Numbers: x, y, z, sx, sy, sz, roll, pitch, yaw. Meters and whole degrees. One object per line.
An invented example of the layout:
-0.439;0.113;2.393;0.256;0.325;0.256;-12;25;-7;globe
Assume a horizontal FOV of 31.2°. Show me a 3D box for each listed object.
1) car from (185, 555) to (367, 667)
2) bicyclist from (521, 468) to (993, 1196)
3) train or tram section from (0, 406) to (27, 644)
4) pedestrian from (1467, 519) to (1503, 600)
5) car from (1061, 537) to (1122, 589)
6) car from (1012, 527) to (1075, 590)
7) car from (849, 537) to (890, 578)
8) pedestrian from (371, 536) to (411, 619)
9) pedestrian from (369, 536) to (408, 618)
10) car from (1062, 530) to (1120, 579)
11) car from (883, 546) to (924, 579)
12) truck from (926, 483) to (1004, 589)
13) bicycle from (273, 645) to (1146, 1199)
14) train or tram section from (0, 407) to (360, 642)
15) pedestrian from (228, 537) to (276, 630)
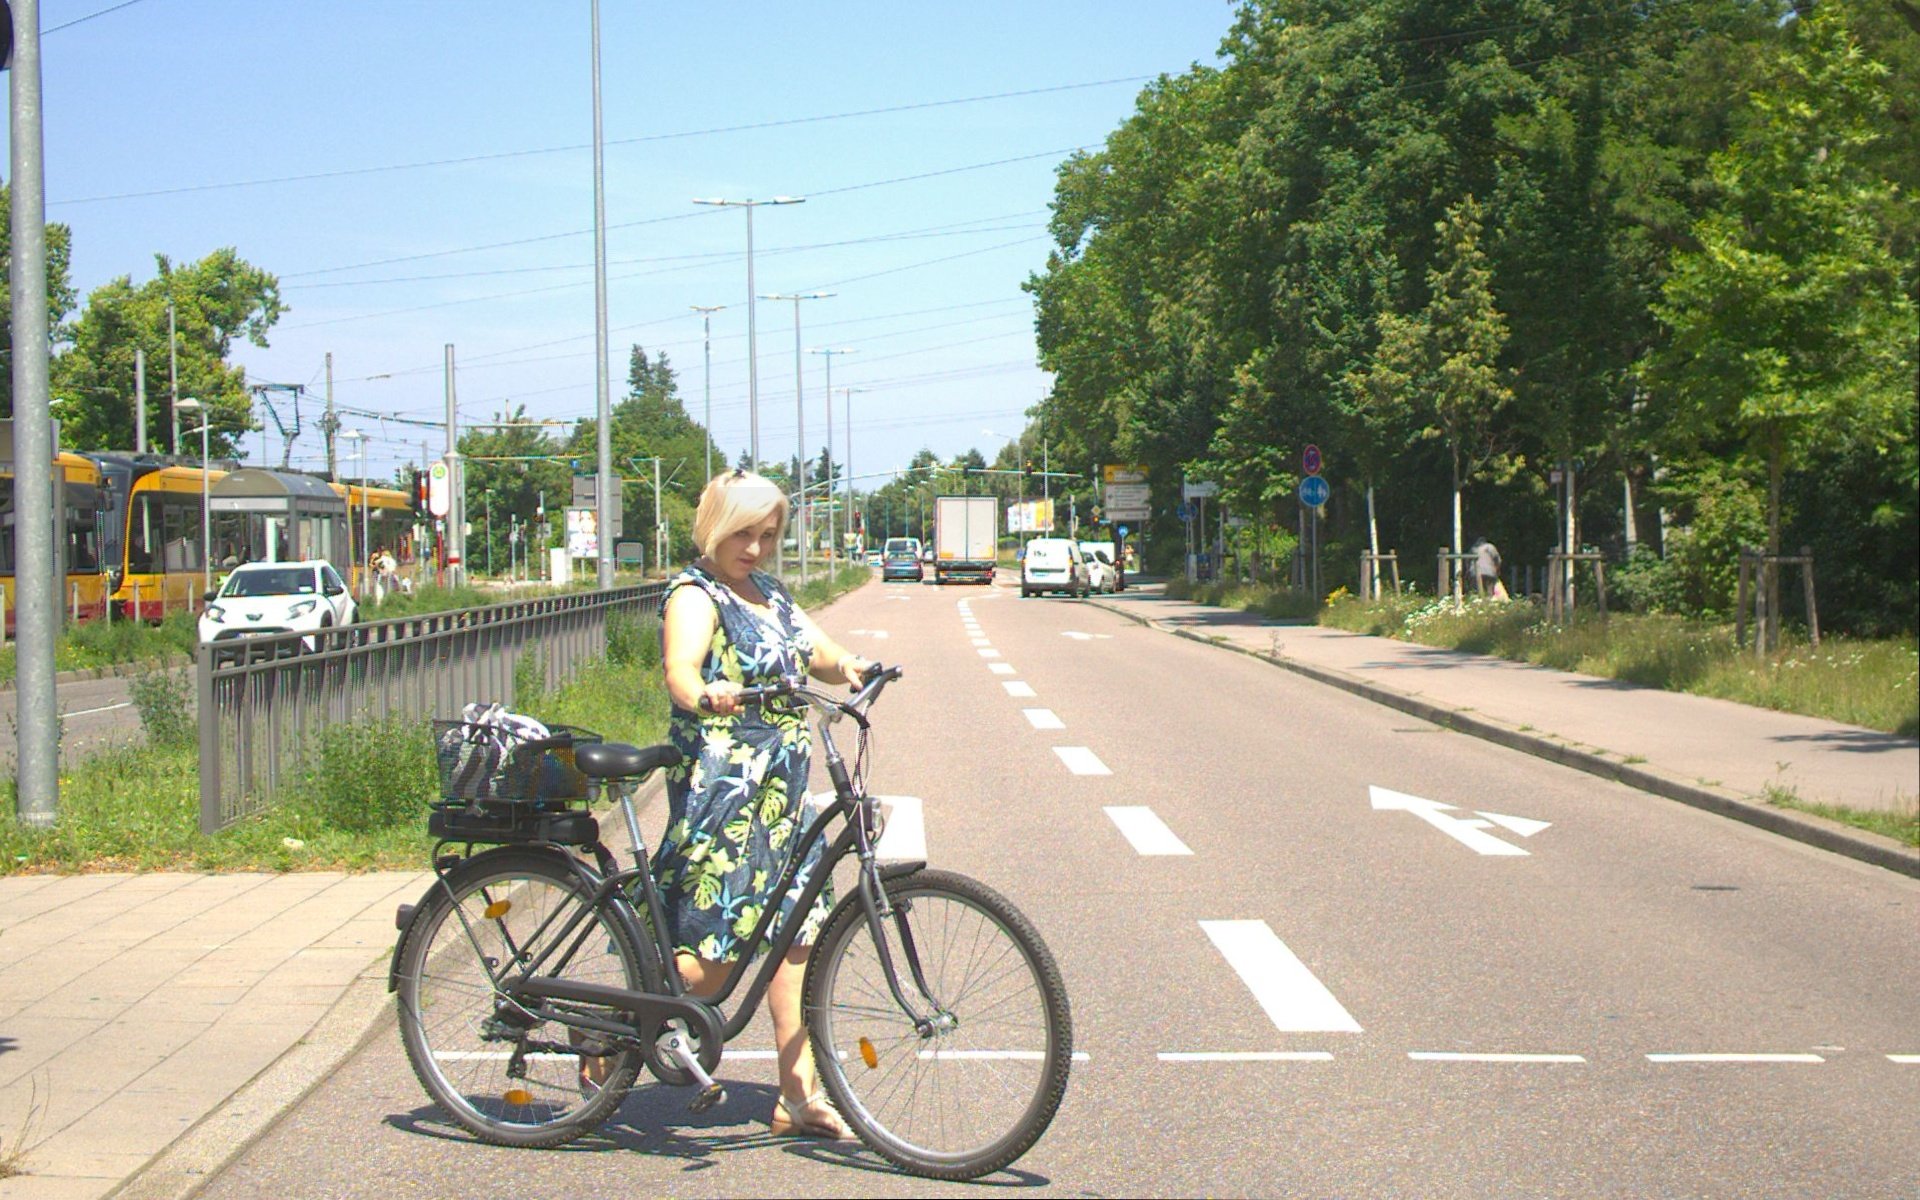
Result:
-9.615;0.127;48.570;1.845;1.489;3.791;0;1;-1;car
-0.491;0.528;8.416;0.958;1.661;0.580;3;3;17;bicyclist
-16.357;-0.916;40.334;2.957;3.736;30.035;0;1;-1;train or tram section
9.399;-0.723;61.548;0.604;1.433;0.556;0;1;6;pedestrian
4.271;-1.217;112.441;1.779;1.663;4.000;0;1;-1;car
2.541;-1.283;105.662;1.779;1.897;4.000;0;1;-1;car
-4.591;-2.175;175.159;1.993;2.007;4.000;0;1;-1;car
-13.838;-0.546;83.647;0.815;2.007;0.938;0;1;-1;pedestrian
-14.117;-0.563;84.941;0.815;2.007;0.938;0;1;-1;pedestrian
4.519;-1.585;118.784;1.779;1.663;4.000;0;1;-1;car
-2.573;-1.718;156.403;1.811;1.459;4.000;0;1;-1;car
0.179;-2.717;146.104;3.205;4.344;6.561;0;1;-1;truck
-0.600;0.754;8.110;1.959;1.157;0.541;3;3;18;bicycle
-16.723;-1.511;71.856;2.931;3.776;33.090;0;1;-1;train or tram section
-14.277;-0.331;69.295;0.785;1.862;0.817;0;1;-1;pedestrian
